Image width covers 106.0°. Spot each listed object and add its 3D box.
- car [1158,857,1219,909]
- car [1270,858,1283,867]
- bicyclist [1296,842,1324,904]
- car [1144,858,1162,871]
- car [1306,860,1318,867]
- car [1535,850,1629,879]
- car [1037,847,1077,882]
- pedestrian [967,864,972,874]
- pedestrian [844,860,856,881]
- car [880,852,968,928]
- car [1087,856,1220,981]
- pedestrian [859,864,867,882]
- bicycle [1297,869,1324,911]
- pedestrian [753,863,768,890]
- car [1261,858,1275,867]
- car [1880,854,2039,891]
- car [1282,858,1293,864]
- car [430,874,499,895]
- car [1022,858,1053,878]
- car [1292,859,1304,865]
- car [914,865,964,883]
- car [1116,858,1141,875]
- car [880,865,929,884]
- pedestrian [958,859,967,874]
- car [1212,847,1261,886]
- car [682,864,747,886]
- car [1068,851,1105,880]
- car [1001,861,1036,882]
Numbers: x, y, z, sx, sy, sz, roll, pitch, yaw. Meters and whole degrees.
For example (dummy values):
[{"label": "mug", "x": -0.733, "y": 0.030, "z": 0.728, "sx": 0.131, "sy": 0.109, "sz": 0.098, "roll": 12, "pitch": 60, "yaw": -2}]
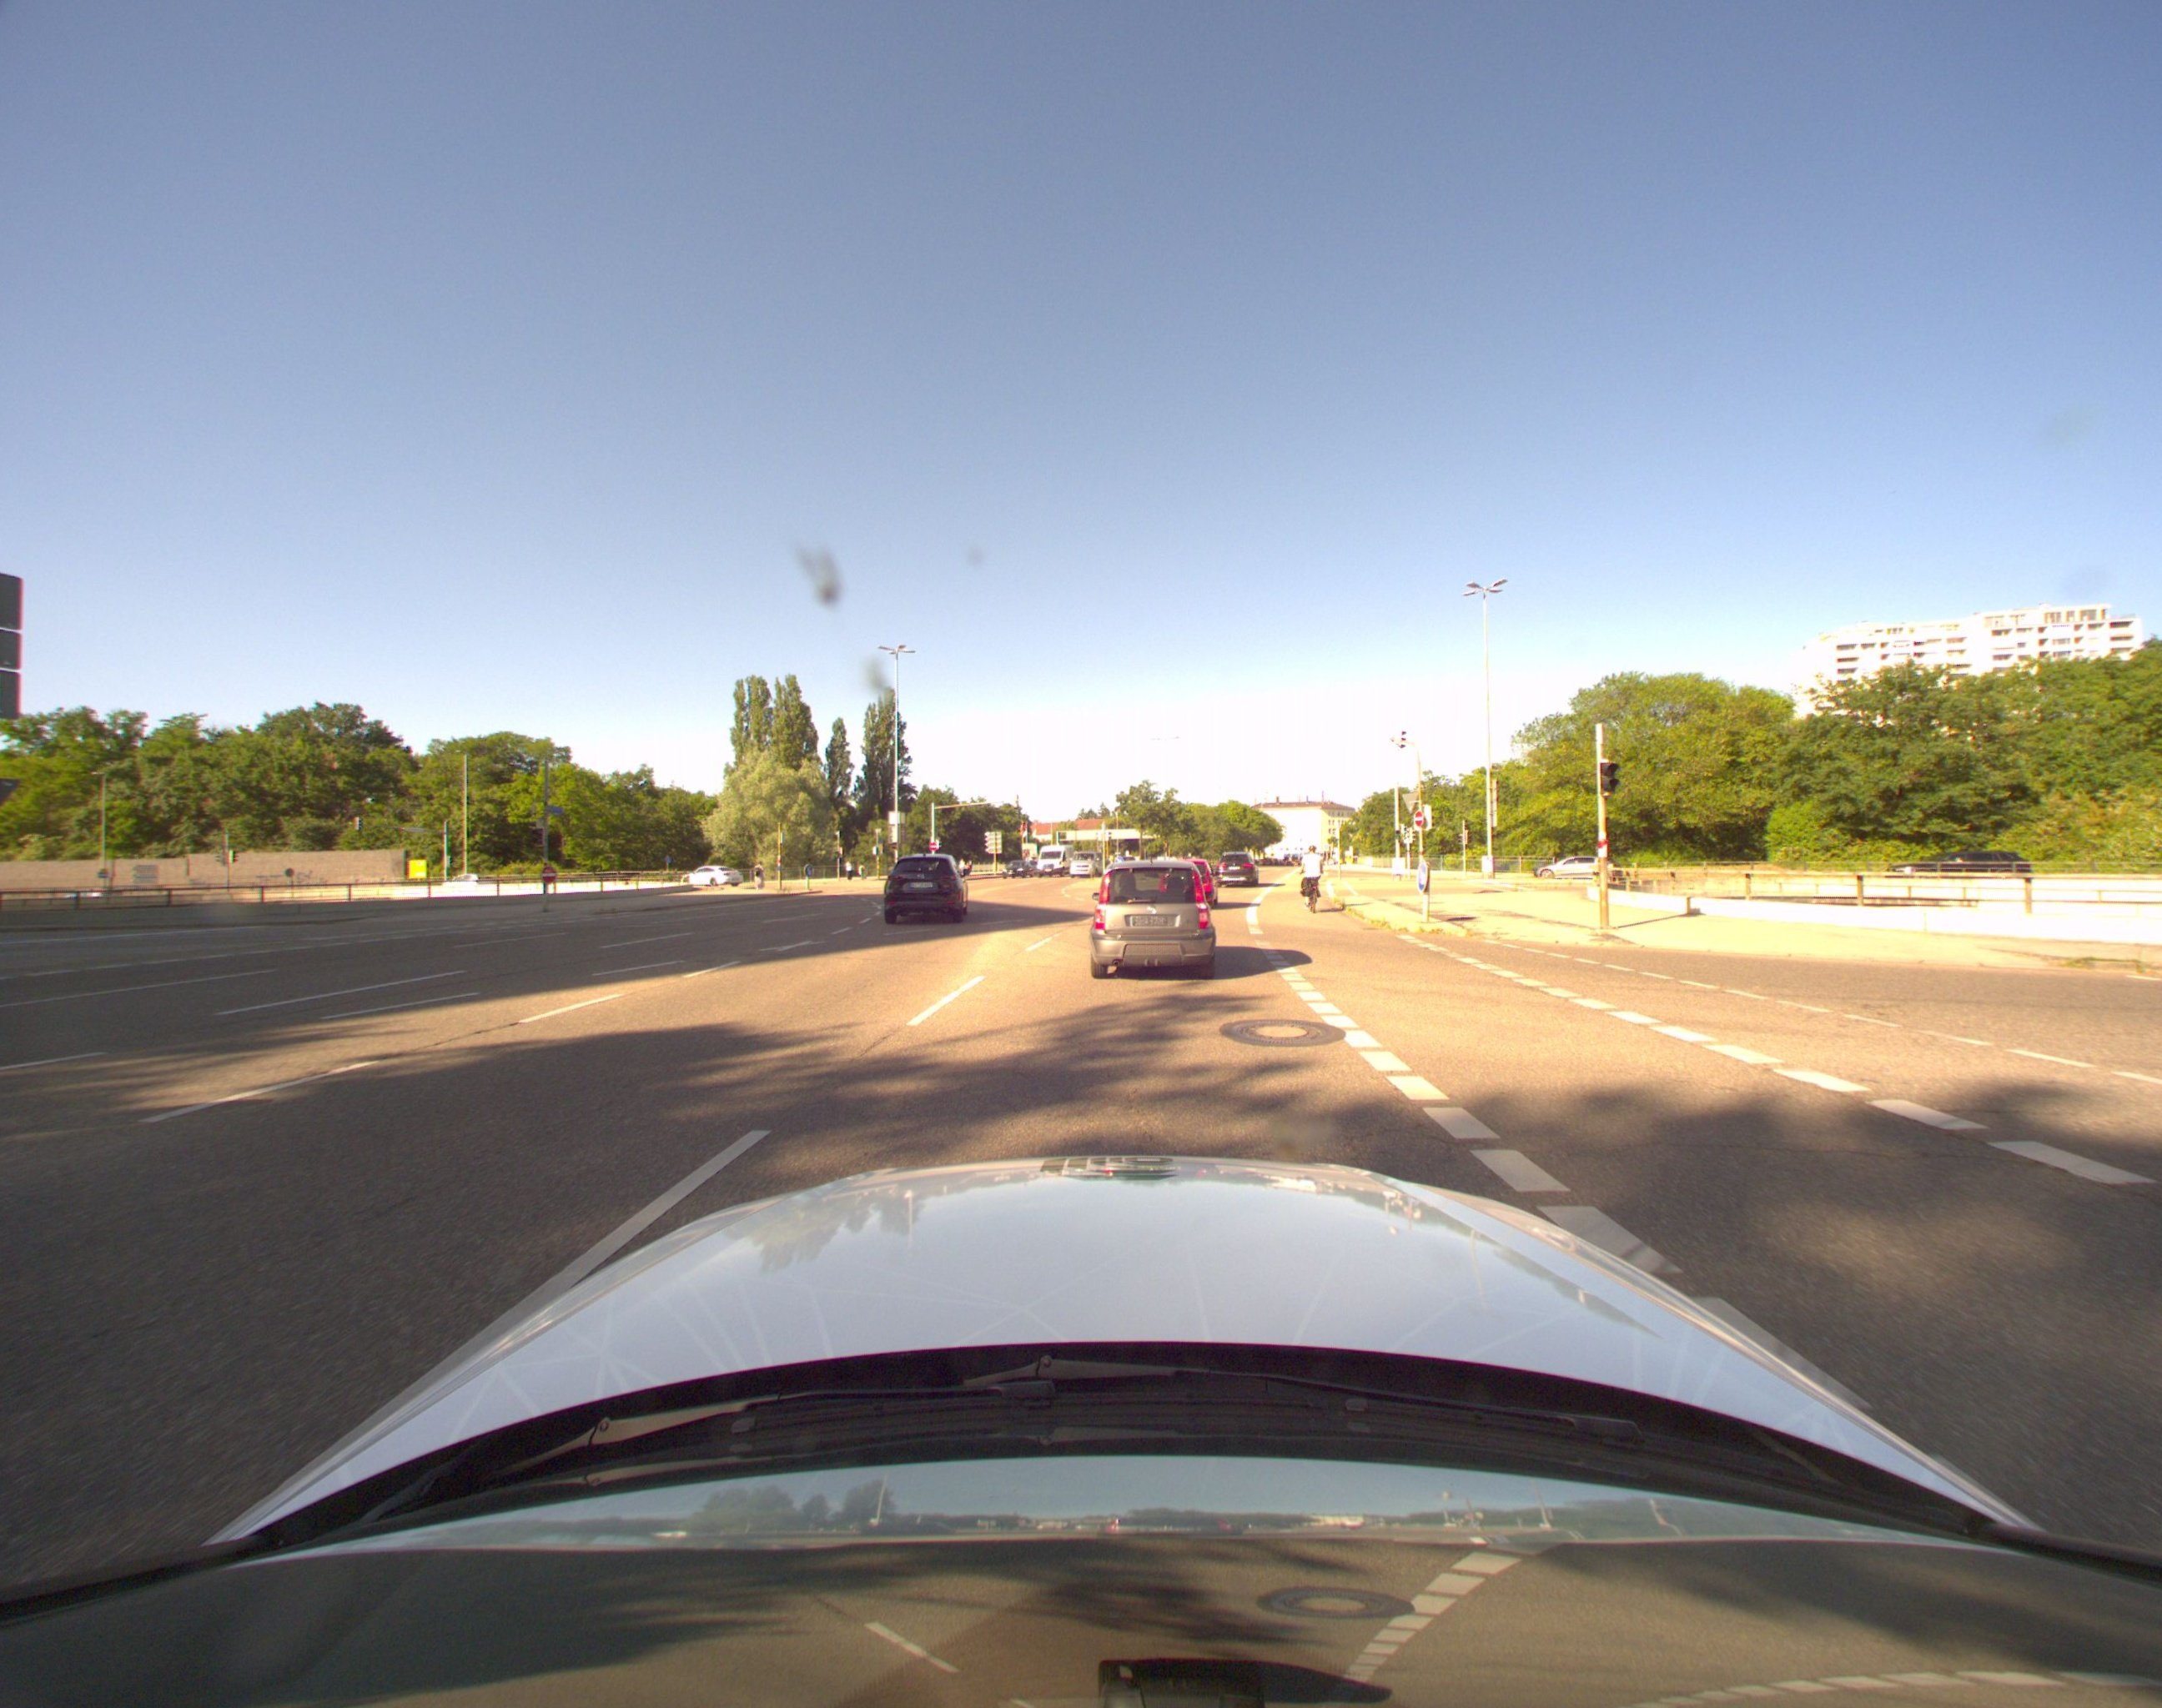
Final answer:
[{"label": "car", "x": 3.369, "y": 0.836, "z": 25.094, "sx": 1.607, "sy": 1.463, "sz": 3.762, "roll": -1, "pitch": 0, "yaw": 11}, {"label": "car", "x": 35.848, "y": 1.514, "z": 149.125, "sx": 1.930, "sy": 1.528, "sz": 4.116, "roll": -1, "pitch": -1, "yaw": 18}, {"label": "bicyclist", "x": 6.314, "y": 0.516, "z": 22.453, "sx": 0.719, "sy": 1.659, "sz": 1.117, "roll": 0, "pitch": -1, "yaw": 15}, {"label": "car", "x": 9.585, "y": 1.366, "z": 108.677, "sx": 1.924, "sy": 1.622, "sz": 4.519, "roll": -1, "pitch": 0, "yaw": 11}, {"label": "car", "x": 55.285, "y": 2.290, "z": 194.764, "sx": 1.848, "sy": 1.681, "sz": 3.932, "roll": -1, "pitch": -3, "yaw": 30}, {"label": "car", "x": 28.231, "y": 0.608, "z": 45.920, "sx": 4.191, "sy": 1.552, "sz": 1.872, "roll": -1, "pitch": -1, "yaw": 44}, {"label": "car", "x": -1.802, "y": 0.793, "z": 63.616, "sx": 1.925, "sy": 2.576, "sz": 6.105, "roll": -1, "pitch": 0, "yaw": 10}, {"label": "pedestrian", "x": -12.624, "y": 1.701, "z": 92.252, "sx": 0.420, "sy": 1.136, "sz": 0.399, "roll": 0, "pitch": -3, "yaw": 14}, {"label": "pedestrian", "x": -16.966, "y": 1.224, "z": 59.898, "sx": 0.713, "sy": 1.547, "sz": 0.722, "roll": -1, "pitch": -1, "yaw": -27}, {"label": "car", "x": -3.867, "y": 0.833, "z": 20.674, "sx": 1.872, "sy": 1.709, "sz": 4.186, "roll": -1, "pitch": -1, "yaw": -7}, {"label": "car", "x": 1.059, "y": 0.798, "z": 11.827, "sx": 1.609, "sy": 1.515, "sz": 3.825, "roll": -1, "pitch": 0, "yaw": 5}, {"label": "pedestrian", "x": -19.234, "y": 1.673, "z": 71.815, "sx": 0.559, "sy": 1.547, "sz": 0.571, "roll": -1, "pitch": -2, "yaw": -27}, {"label": "bicycle", "x": 6.309, "y": 0.966, "z": 22.436, "sx": 0.686, "sy": 1.102, "sz": 1.833, "roll": 0, "pitch": 0, "yaw": 15}, {"label": "pedestrian", "x": -17.539, "y": 1.232, "z": 44.529, "sx": 0.680, "sy": 1.463, "sz": 0.699, "roll": 0, "pitch": -1, "yaw": -17}, {"label": "car", "x": 30.985, "y": 1.416, "z": 134.698, "sx": 1.930, "sy": 1.528, "sz": 4.115, "roll": -1, "pitch": -1, "yaw": 17}, {"label": "car", "x": 40.303, "y": 0.830, "z": 37.522, "sx": 4.620, "sy": 1.616, "sz": 1.872, "roll": -1, "pitch": 0, "yaw": 25}, {"label": "car", "x": 50.026, "y": 1.682, "z": 197.271, "sx": 1.927, "sy": 1.528, "sz": 4.121, "roll": -1, "pitch": -1, "yaw": 26}, {"label": "car", "x": -47.181, "y": 2.335, "z": 62.355, "sx": 3.961, "sy": 1.508, "sz": 2.006, "roll": -1, "pitch": 0, "yaw": 11}, {"label": "car", "x": -3.766, "y": 1.207, "z": 71.191, "sx": 1.800, "sy": 1.542, "sz": 4.628, "roll": -2, "pitch": 0, "yaw": 9}, {"label": "car", "x": 55.853, "y": 2.084, "z": 209.451, "sx": 1.926, "sy": 1.528, "sz": 4.123, "roll": -1, "pitch": -1, "yaw": 32}, {"label": "car", "x": -12.697, "y": 1.783, "z": 73.227, "sx": 1.762, "sy": 1.535, "sz": 4.356, "roll": 0, "pitch": 0, "yaw": 38}, {"label": "car", "x": 4.946, "y": 1.277, "z": 84.103, "sx": 1.924, "sy": 1.622, "sz": 4.519, "roll": -1, "pitch": 0, "yaw": 11}, {"label": "car", "x": -16.205, "y": 1.915, "z": 74.890, "sx": 1.876, "sy": 1.625, "sz": 4.024, "roll": -1, "pitch": -3, "yaw": 41}, {"label": "pedestrian", "x": -13.470, "y": 1.431, "z": 92.590, "sx": 0.715, "sy": 1.641, "sz": 0.675, "roll": 0, "pitch": -3, "yaw": 14}, {"label": "car", "x": 7.905, "y": 0.654, "z": 41.090, "sx": 1.930, "sy": 1.840, "sz": 4.170, "roll": -2, "pitch": -2, "yaw": 17}, {"label": "car", "x": -24.486, "y": 1.383, "z": 54.419, "sx": 4.263, "sy": 1.415, "sz": 1.797, "roll": -1, "pitch": -1, "yaw": 29}, {"label": "car", "x": 0.434, "y": 0.837, "z": 60.309, "sx": 1.925, "sy": 2.008, "sz": 4.944, "roll": -1, "pitch": 0, "yaw": 10}, {"label": "car", "x": -4.893, "y": 1.371, "z": 64.237, "sx": 1.926, "sy": 1.507, "sz": 4.008, "roll": -2, "pitch": 0, "yaw": 7}]
